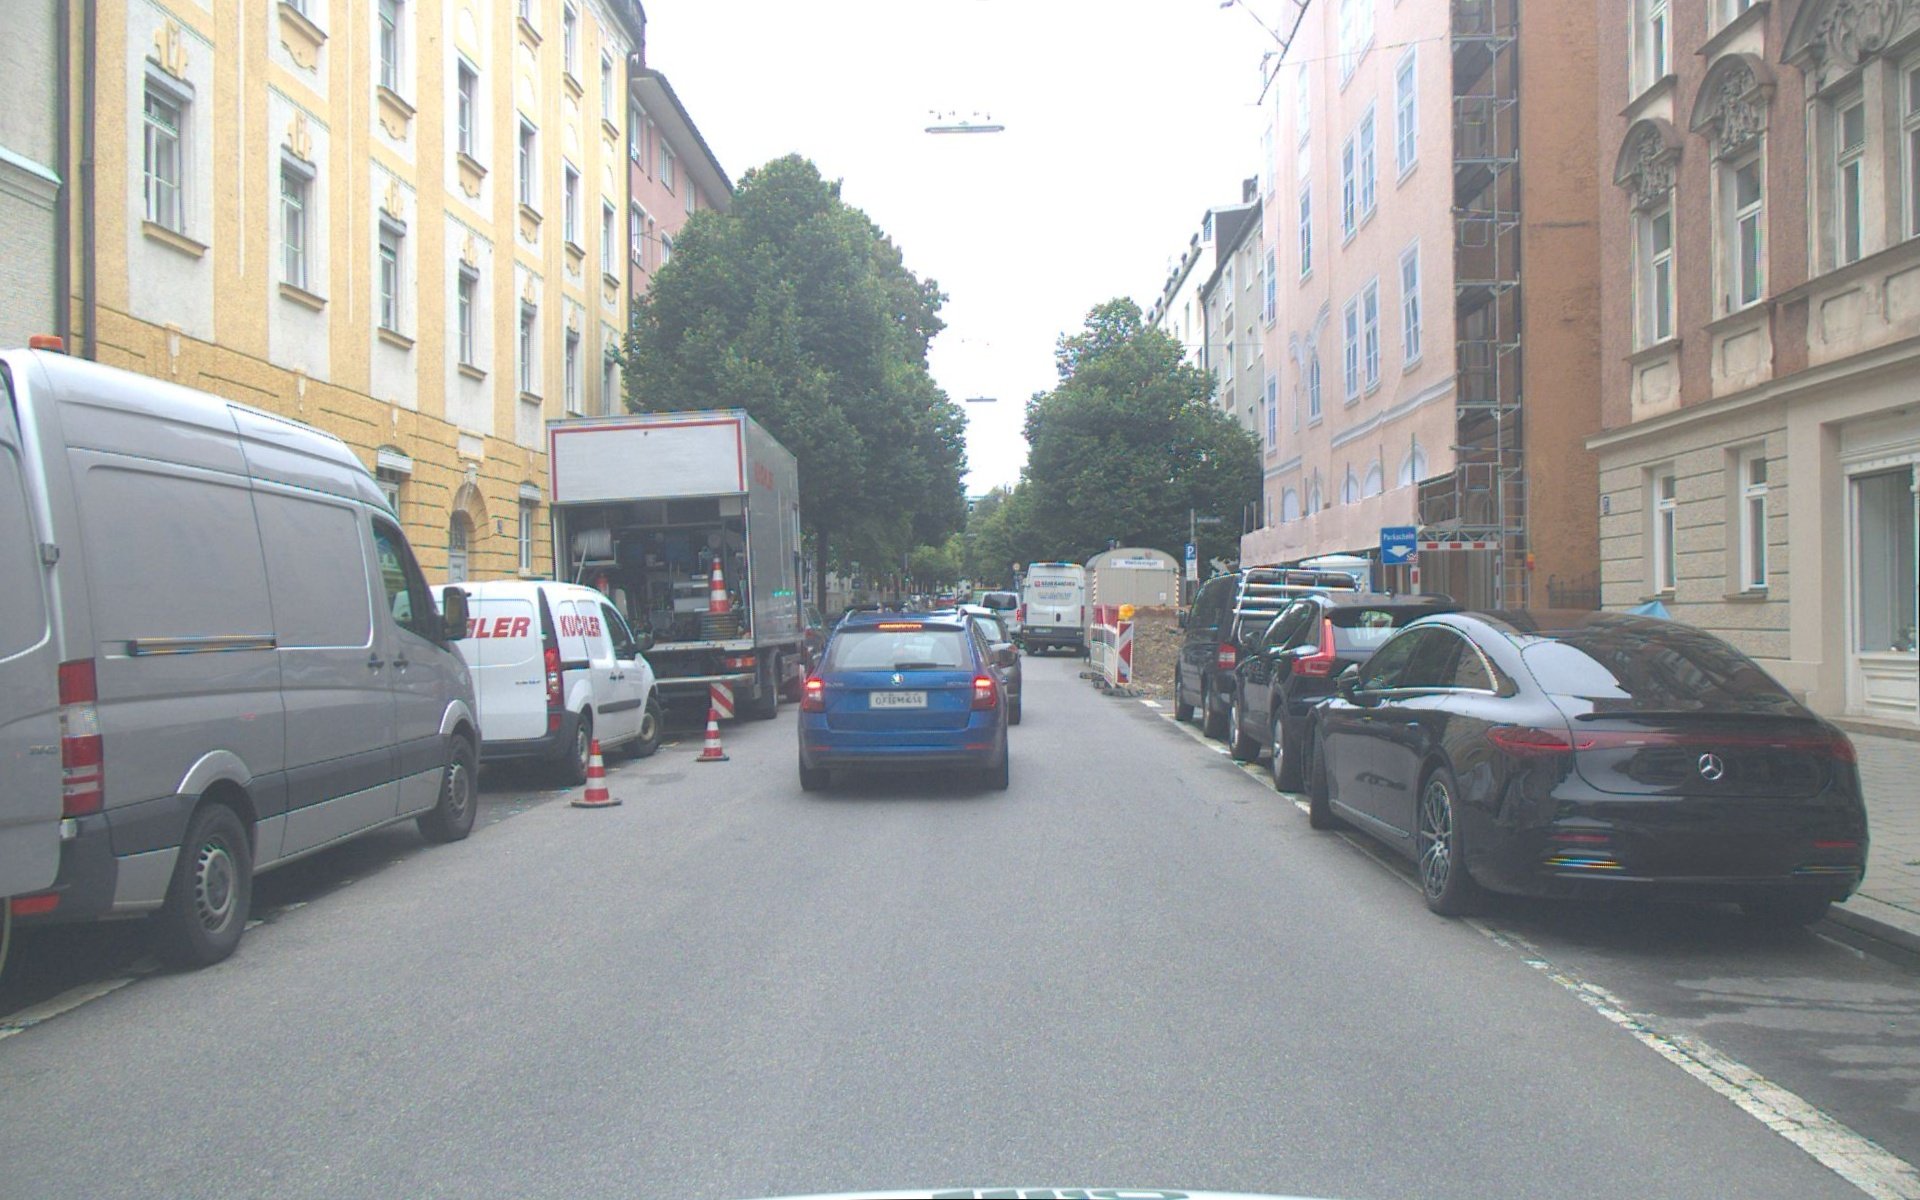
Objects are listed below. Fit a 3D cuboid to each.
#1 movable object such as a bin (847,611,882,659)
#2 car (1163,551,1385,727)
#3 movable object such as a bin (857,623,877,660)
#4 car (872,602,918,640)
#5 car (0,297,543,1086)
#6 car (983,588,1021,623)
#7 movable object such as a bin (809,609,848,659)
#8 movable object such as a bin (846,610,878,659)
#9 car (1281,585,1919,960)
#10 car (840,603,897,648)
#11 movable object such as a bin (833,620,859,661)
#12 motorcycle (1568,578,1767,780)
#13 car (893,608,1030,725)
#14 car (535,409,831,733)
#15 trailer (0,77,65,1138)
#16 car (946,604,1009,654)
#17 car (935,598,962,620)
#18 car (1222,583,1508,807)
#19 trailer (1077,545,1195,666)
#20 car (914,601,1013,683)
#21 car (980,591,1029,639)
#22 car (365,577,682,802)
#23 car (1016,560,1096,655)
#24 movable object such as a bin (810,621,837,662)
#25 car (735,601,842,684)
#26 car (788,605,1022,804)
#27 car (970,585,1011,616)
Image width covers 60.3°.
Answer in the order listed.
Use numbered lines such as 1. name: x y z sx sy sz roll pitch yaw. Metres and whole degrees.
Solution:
1. movable object such as a bin: -2.919 1.051 50.443 1.000 1.400 1.103 -2 0 -3
2. car: 3.852 0.550 21.210 2.039 1.955 5.141 1 -3 2
3. movable object such as a bin: -2.735 1.203 48.488 0.535 1.038 0.636 -2 0 -2
4. car: -2.646 0.849 67.898 1.775 1.504 3.999 0 0 -1
5. car: -4.181 0.358 8.608 2.014 2.632 6.877 -5 0 1
6. car: 2.084 0.253 82.145 1.829 1.682 4.348 1 0 1
7. movable object such as a bin: -3.903 1.009 49.271 1.060 1.400 1.083 -2 0 -3
8. movable object such as a bin: -2.926 1.034 49.345 0.900 1.400 1.079 -2 0 -3
9. car: 3.384 0.733 9.808 1.891 1.580 5.636 0 0 0
10. car: -3.132 0.854 57.169 1.775 1.504 3.999 0 0 -1
11. movable object such as a bin: -3.342 1.187 48.433 0.697 1.168 0.636 -2 0 -3
12. motorcycle: 5.745 0.606 13.575 0.853 1.531 1.998 0 0 3
13. car: 0.079 0.847 22.474 1.705 1.446 3.665 0 0 2
14. car: -3.696 -0.321 24.379 2.755 3.884 8.723 -1 0 1
15. trailer: -4.294 0.102 1.110 2.745 3.020 7.603 -4 0 3
16. car: 0.571 0.847 50.171 1.829 1.372 4.348 1 0 2
17. car: -0.854 0.685 128.761 1.966 1.682 4.348 1 0 1
18. car: 3.562 0.776 15.326 1.658 1.706 4.408 2 -1 2
19. trailer: 4.491 0.177 43.378 2.450 2.890 6.901 1 -1 1
20. car: 0.072 0.784 33.129 1.829 1.479 4.347 1 0 0
21. car: 1.835 0.587 69.097 1.829 1.902 4.346 1 0 -1
22. car: -4.024 0.762 16.027 1.726 1.810 4.327 -2 0 2
23. car: 3.003 0.240 50.489 2.068 2.710 5.504 1 -1 7
24. movable object such as a bin: -3.996 1.216 48.383 0.706 1.158 0.658 -3 0 -3
25. car: -3.672 0.873 36.040 1.748 1.657 4.186 -2 0 2
26. car: -0.373 0.806 14.712 1.752 1.486 4.315 -1 0 1
27. car: 1.708 0.011 95.119 1.968 1.682 4.344 1 0 -4
